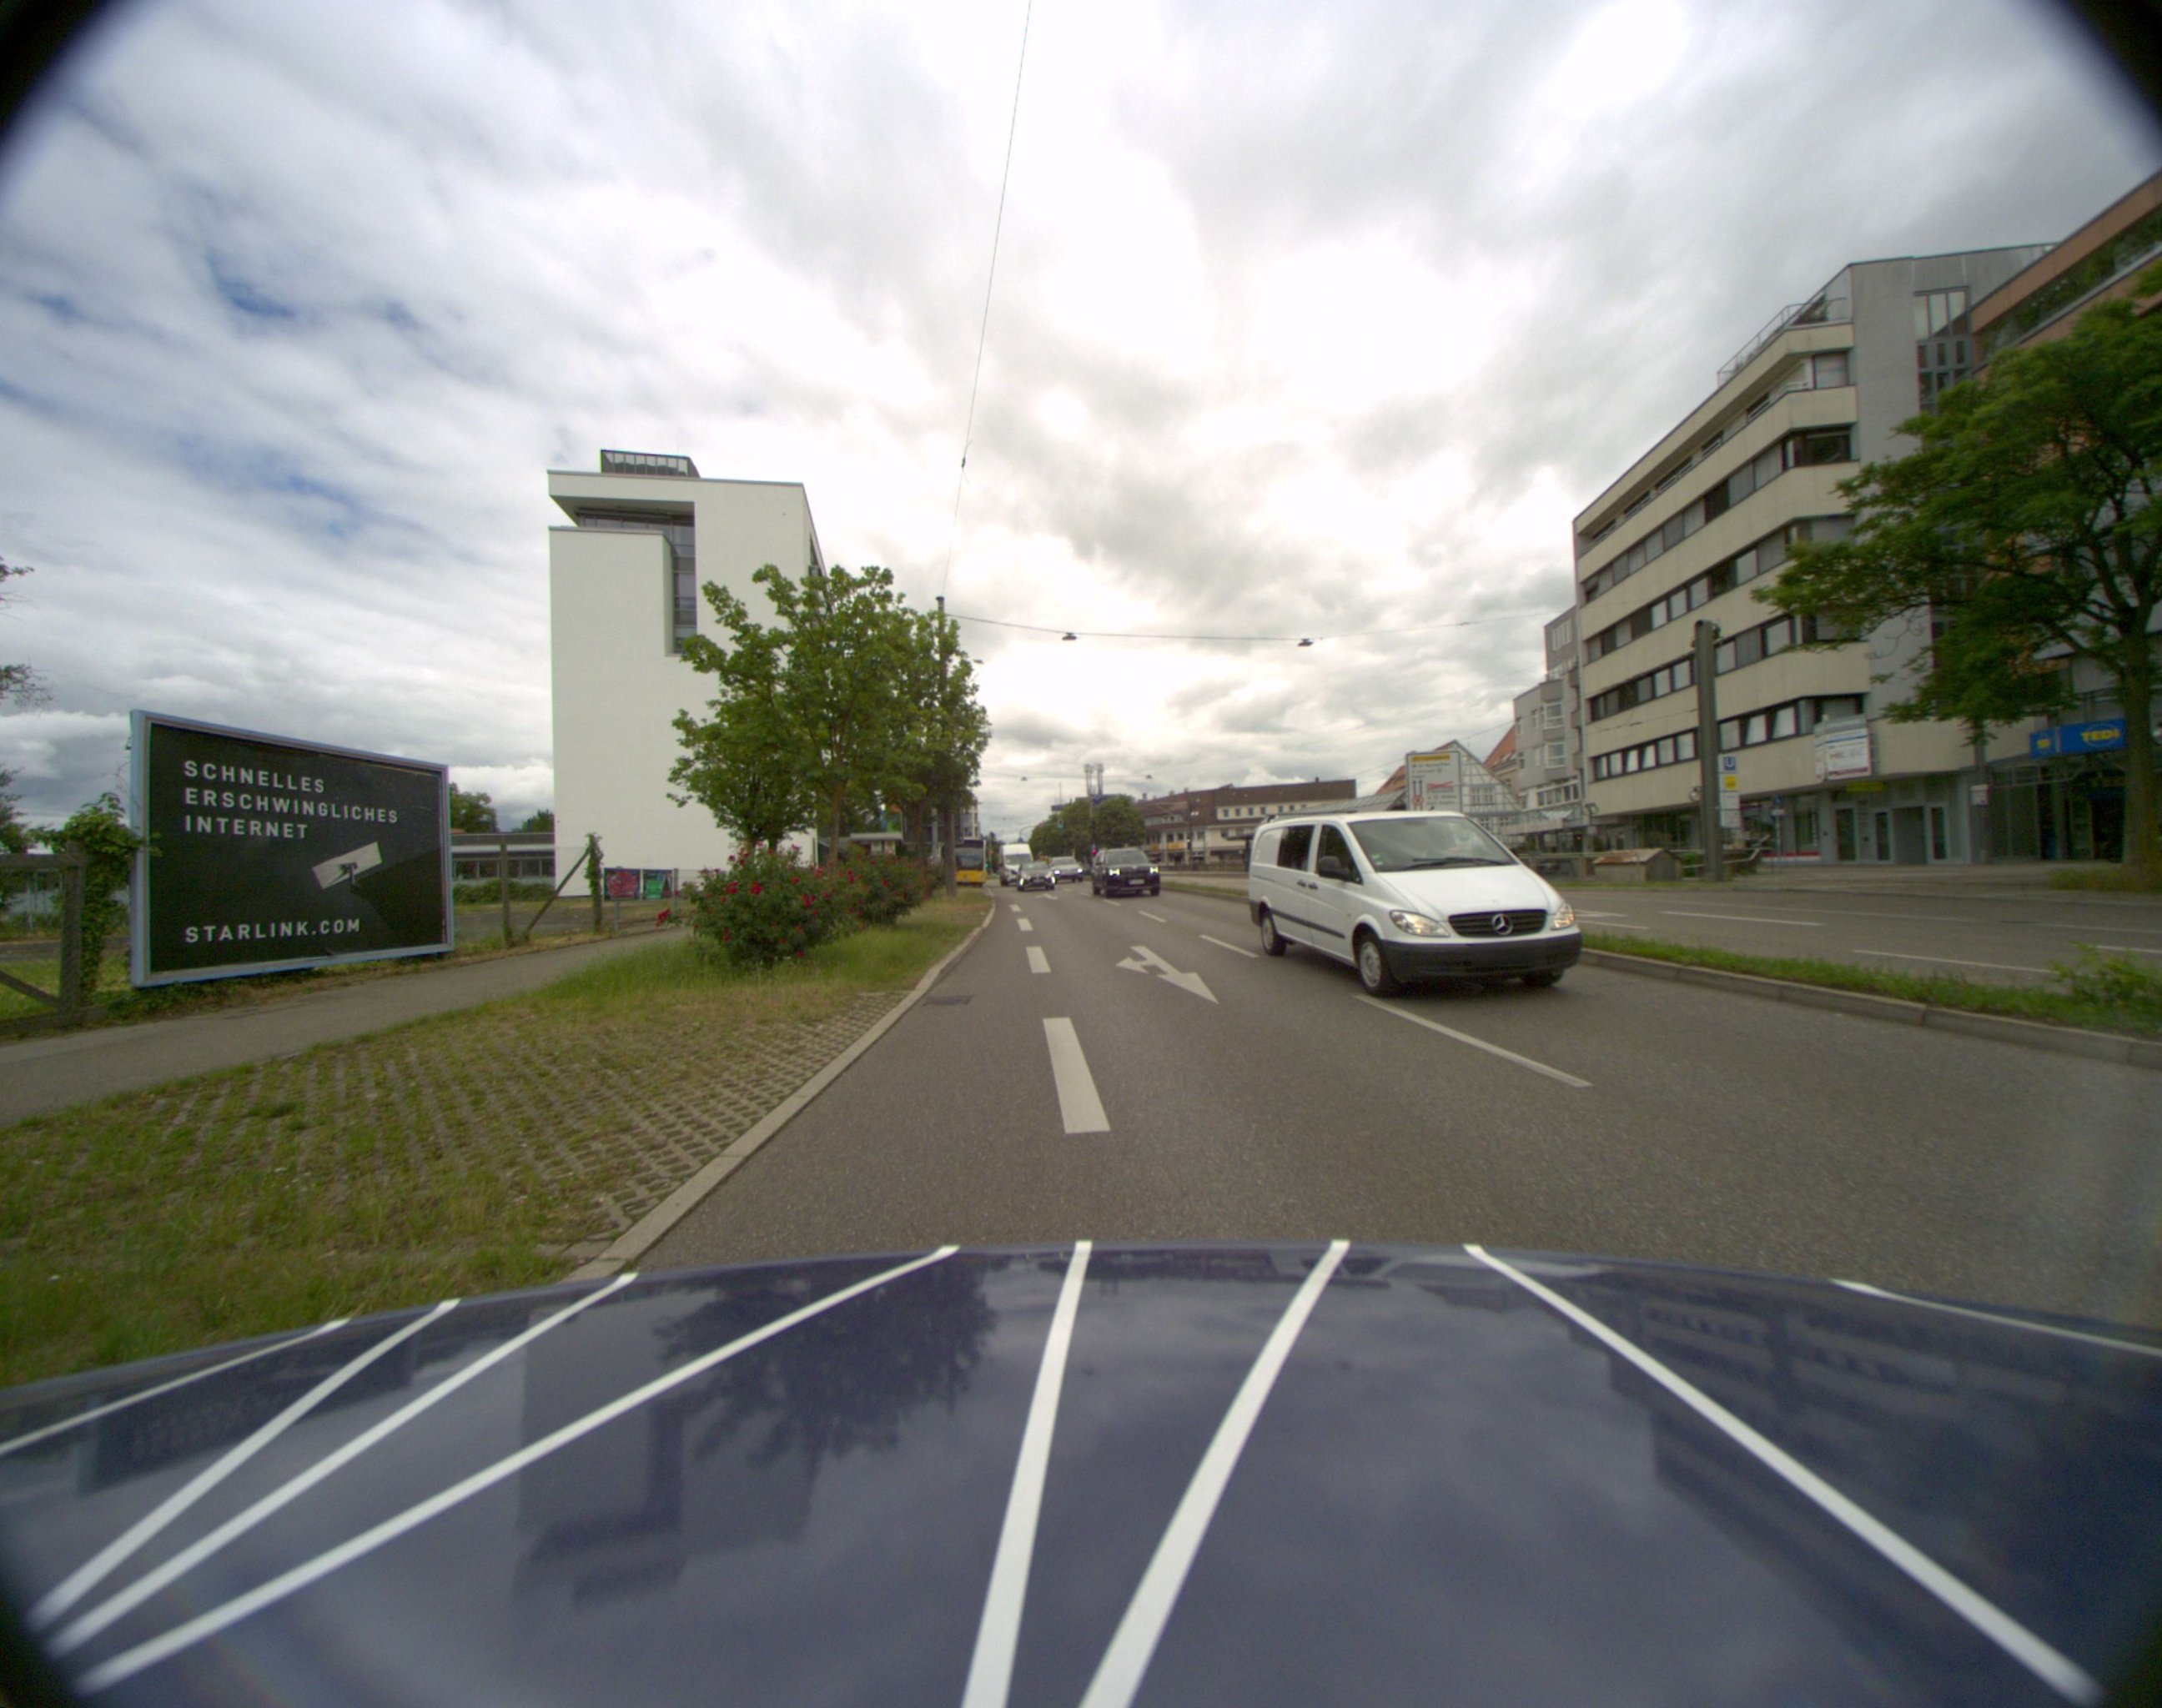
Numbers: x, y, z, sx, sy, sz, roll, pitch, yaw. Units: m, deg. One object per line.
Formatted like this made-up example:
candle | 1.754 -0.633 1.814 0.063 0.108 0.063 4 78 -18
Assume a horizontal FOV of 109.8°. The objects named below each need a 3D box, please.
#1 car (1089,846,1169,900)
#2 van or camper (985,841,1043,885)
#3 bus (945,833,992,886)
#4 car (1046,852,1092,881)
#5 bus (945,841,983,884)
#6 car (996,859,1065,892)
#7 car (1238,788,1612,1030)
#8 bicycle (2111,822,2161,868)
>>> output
car | 1.653 0.640 27.845 1.928 1.741 4.675 -2 0 -8
van or camper | -4.578 0.624 50.749 2.283 2.690 6.986 -1 -1 -18
bus | -7.587 0.456 50.284 2.722 3.144 9.120 1 -1 -11
car | -0.829 0.811 48.237 2.000 1.640 4.389 -4 0 -13
bus | -9.228 0.678 59.142 2.721 3.090 8.863 0 -1 -10
car | -2.578 1.056 37.914 1.867 1.516 3.992 -1 -1 -29
car | 3.536 0.473 9.150 1.879 2.002 5.074 -3 0 -3
bicycle | 32.092 -0.288 22.434 1.970 1.311 0.706 -2 1 16
